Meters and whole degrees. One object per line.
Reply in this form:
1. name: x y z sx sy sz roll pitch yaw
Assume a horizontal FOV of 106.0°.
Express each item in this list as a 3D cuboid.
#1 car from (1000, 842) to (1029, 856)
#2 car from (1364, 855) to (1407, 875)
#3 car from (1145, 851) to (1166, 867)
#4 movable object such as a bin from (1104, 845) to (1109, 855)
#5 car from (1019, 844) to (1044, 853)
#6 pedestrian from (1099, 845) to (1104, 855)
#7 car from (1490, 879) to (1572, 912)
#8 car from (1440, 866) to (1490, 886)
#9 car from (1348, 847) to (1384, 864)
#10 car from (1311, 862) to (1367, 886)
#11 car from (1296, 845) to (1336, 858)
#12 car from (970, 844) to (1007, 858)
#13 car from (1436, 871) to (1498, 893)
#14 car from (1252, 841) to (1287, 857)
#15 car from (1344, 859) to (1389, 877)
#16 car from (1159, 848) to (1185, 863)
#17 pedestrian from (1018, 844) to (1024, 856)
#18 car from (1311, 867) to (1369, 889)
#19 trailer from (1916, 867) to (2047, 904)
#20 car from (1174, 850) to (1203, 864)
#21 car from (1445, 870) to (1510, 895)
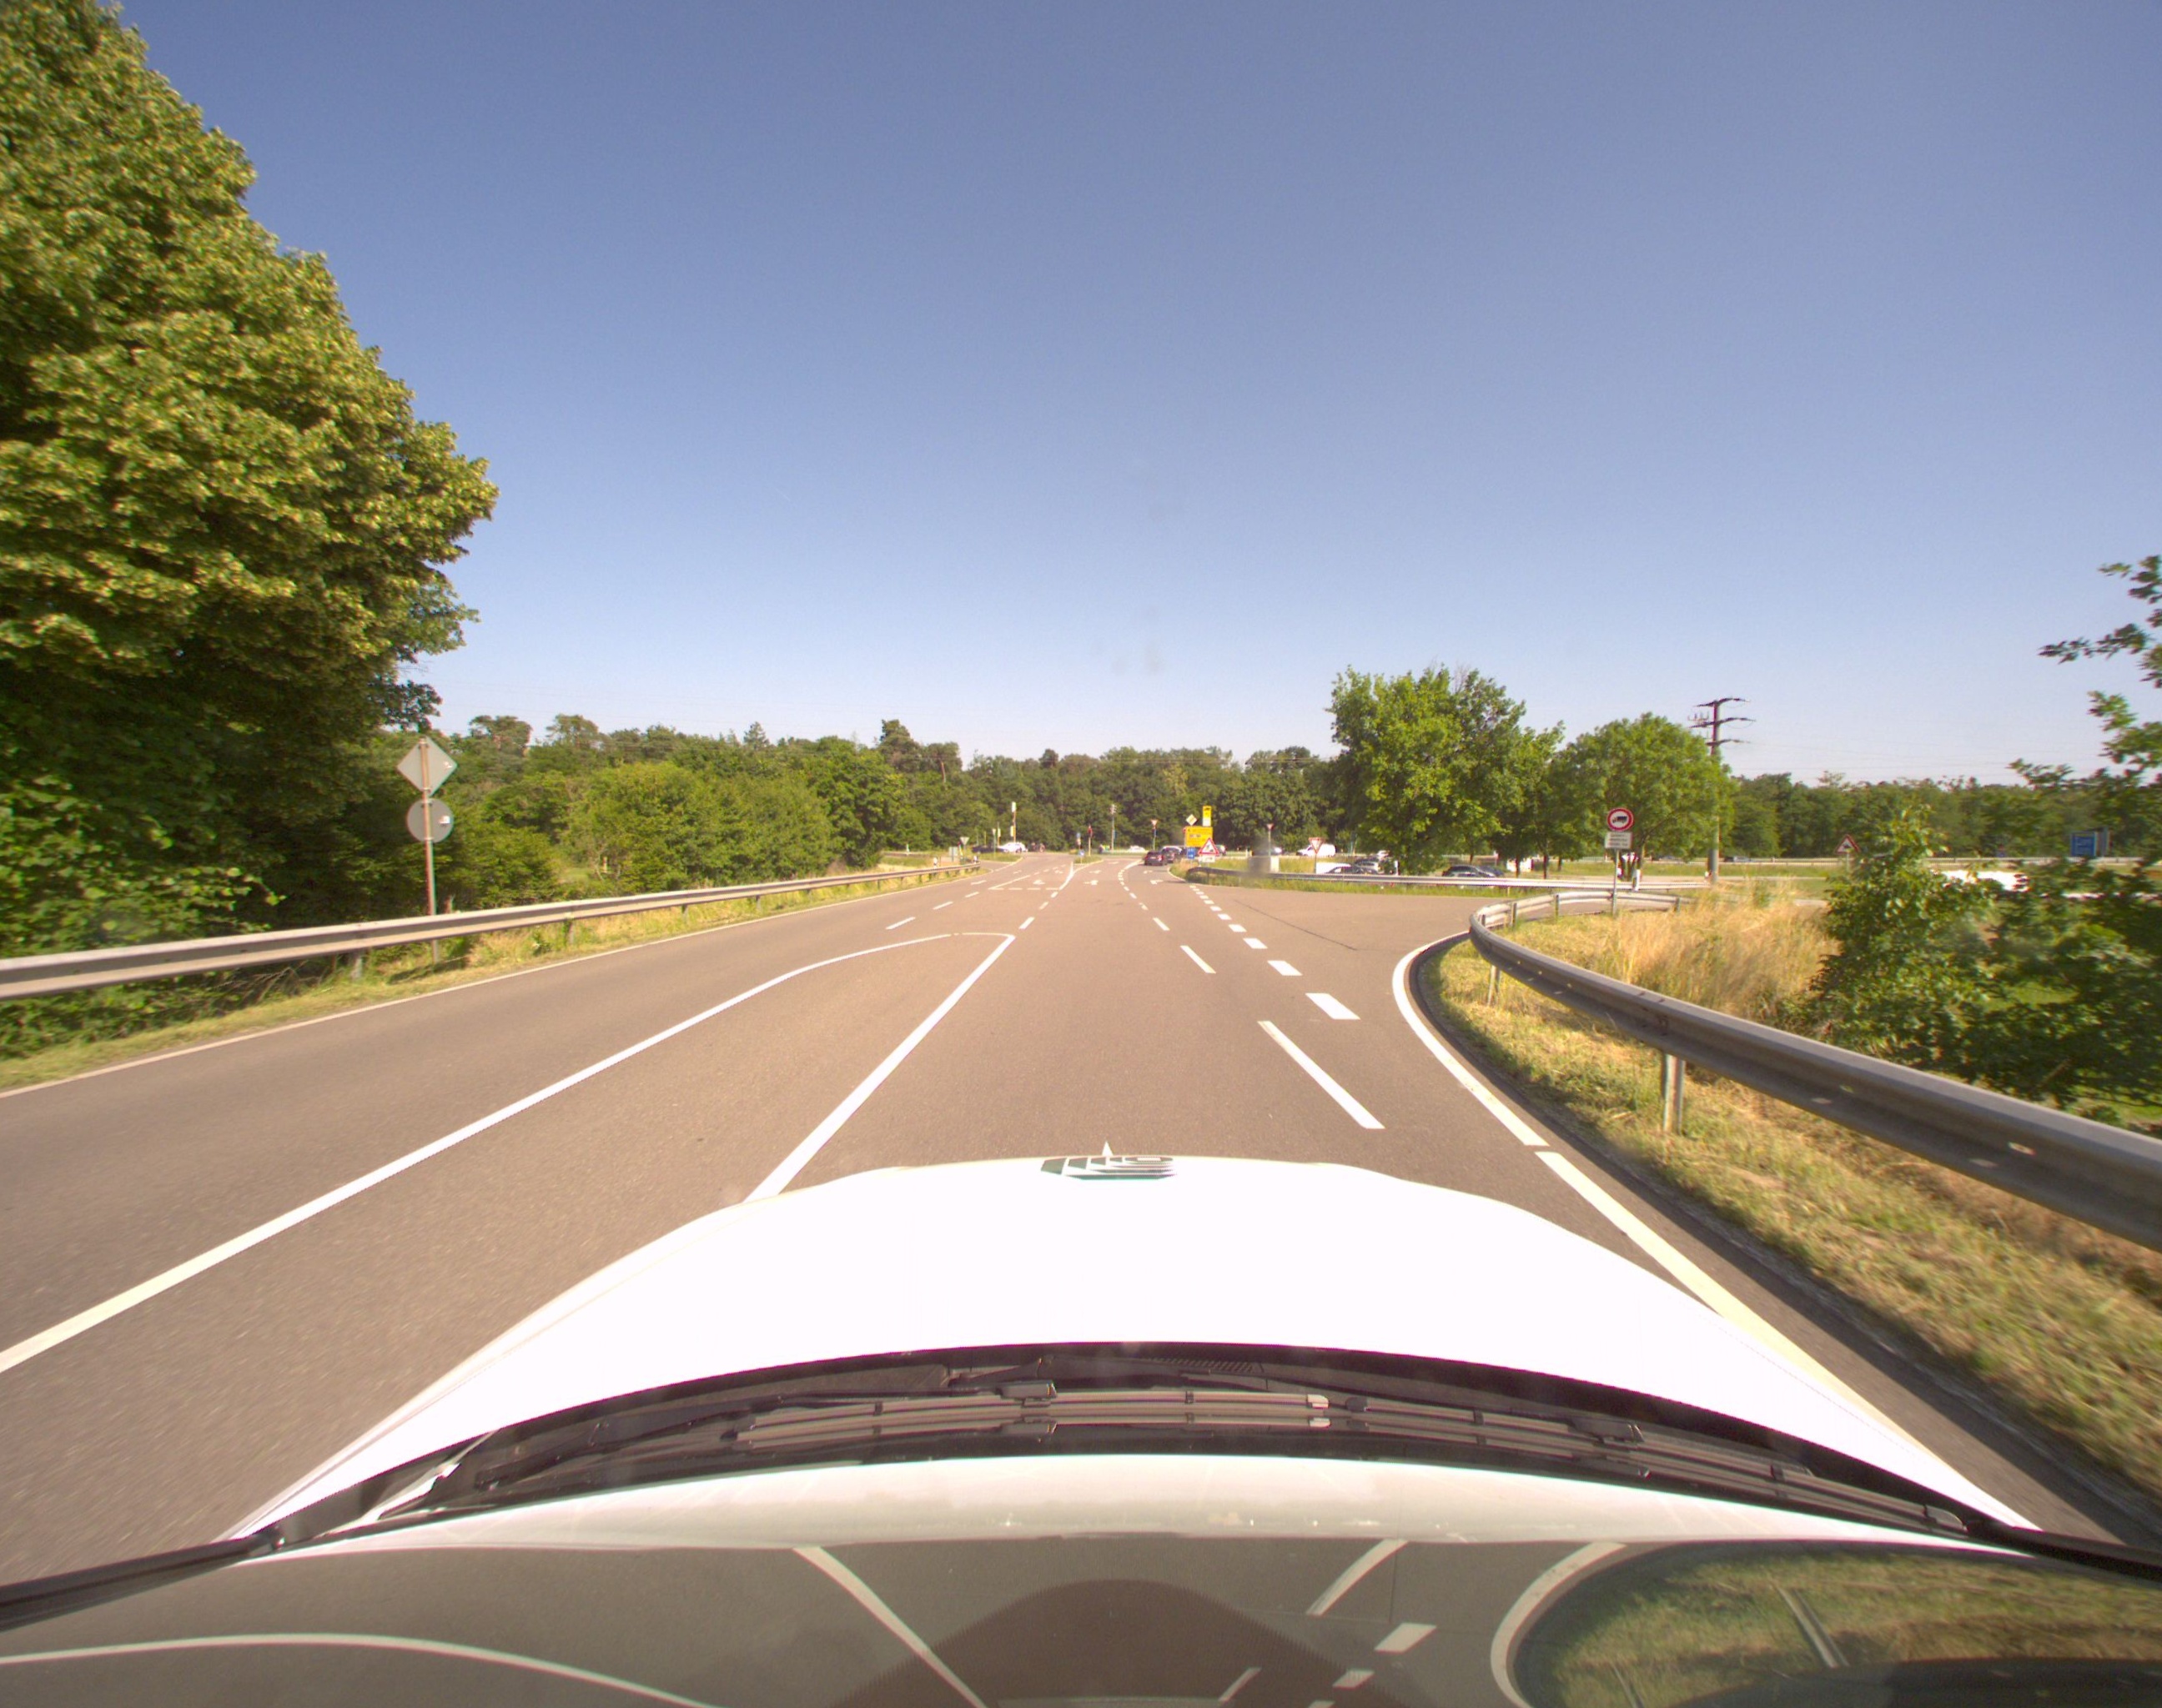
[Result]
1. car: -10.208 -0.733 124.527 4.000 2.013 1.784 -1 0 -20
2. car: 33.257 1.187 89.040 3.950 1.876 1.903 3 1 41
3. car: 7.192 0.446 78.524 1.789 1.398 4.009 -2 0 8
4. movable object such as a bin: 3.737 -0.564 117.261 0.598 1.488 0.734 -1 0 9
5. car: -7.964 -0.907 131.343 3.980 1.422 1.793 -1 0 -5
6. pedestrian: 2.932 -0.623 116.708 0.519 1.390 0.516 -1 0 12
7. car: 27.494 2.527 49.883 3.963 1.665 1.896 3 1 9
8. car: 35.477 2.009 75.207 3.950 1.580 1.903 3 1 29
9. car: 36.218 0.169 103.628 3.978 2.013 1.799 0 1 -3
10. car: 21.558 1.637 68.140 4.324 1.783 1.909 2 1 14
11. car: 31.825 -0.321 110.305 4.873 1.552 1.997 -1 0 -5
12. car: -11.260 -0.365 99.001 4.358 1.459 1.996 -1 0 -6
13. car: 30.794 2.214 65.134 4.318 1.447 2.011 3 1 21
14. car: 23.731 -0.618 102.455 3.979 2.013 1.798 0 1 -4
15. car: 29.428 1.424 84.063 3.949 1.619 1.903 3 1 36
16. car: 9.595 0.132 85.695 1.785 1.501 4.019 1 0 19
17. pedestrian: -9.072 -0.587 123.260 0.763 1.721 0.671 -1 0 -40
18. car: 20.702 1.945 65.238 4.382 1.667 1.909 0 1 14
19. trailer: 74.912 2.584 67.931 6.731 2.670 2.906 2 1 17
20. car: 12.024 0.300 91.207 1.782 1.501 4.025 1 0 30
21. car: 30.494 2.160 62.736 4.318 1.589 2.011 3 1 21
